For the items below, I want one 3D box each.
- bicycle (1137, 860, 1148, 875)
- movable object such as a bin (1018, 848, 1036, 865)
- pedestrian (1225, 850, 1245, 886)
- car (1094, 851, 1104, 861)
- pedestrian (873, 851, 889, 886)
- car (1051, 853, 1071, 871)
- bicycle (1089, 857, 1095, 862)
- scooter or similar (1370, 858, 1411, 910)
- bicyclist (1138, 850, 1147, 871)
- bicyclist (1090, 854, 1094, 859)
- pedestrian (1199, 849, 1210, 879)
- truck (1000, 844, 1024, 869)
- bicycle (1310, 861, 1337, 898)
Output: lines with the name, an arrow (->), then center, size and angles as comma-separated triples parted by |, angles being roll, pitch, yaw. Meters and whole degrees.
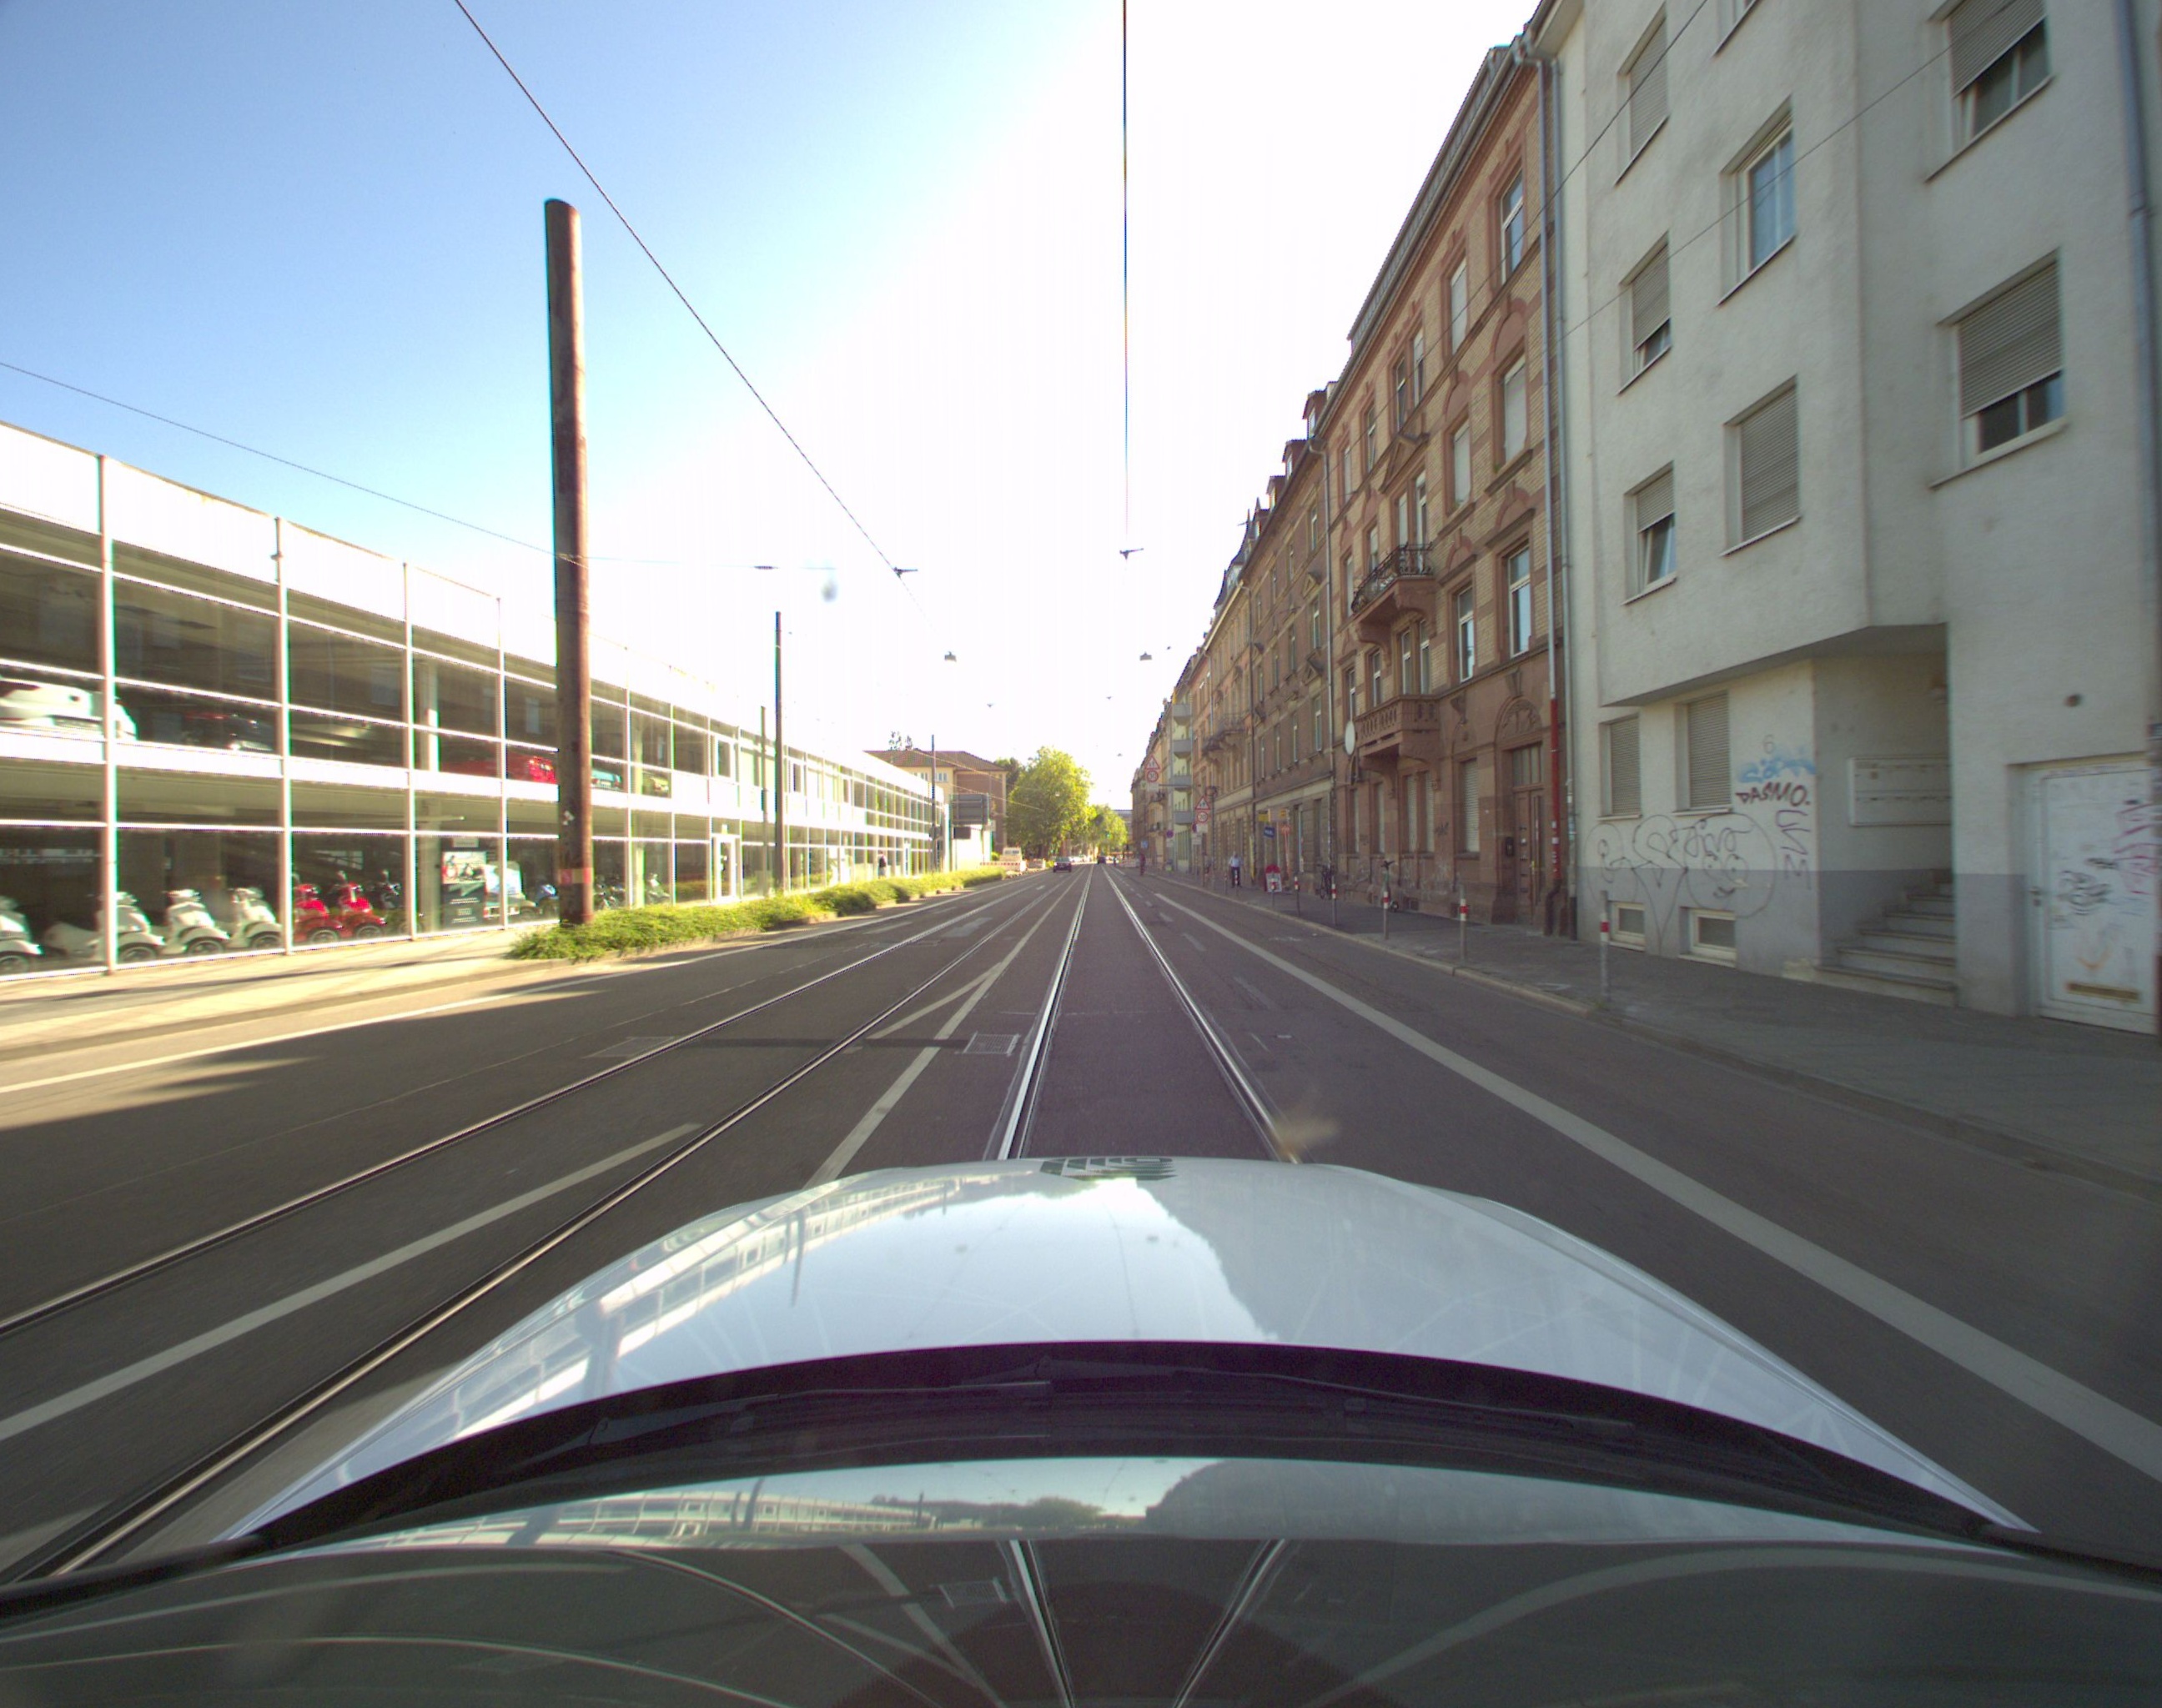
bicycle -> 4.943, 1.081, 65.490 | 0.678, 1.114, 2.707 | 1, 0, 1
movable object such as a bin -> -8.475, 0.419, 127.920 | 2.488, 2.645, 5.985 | 1, 0, -2
pedestrian -> 7.073, 0.646, 37.455 | 0.795, 1.605, 0.653 | -1, -1, 3
car -> 3.783, 0.449, 167.825 | 1.986, 2.014, 4.001 | 1, -1, 2
pedestrian -> -10.387, 0.750, 42.299 | 0.525, 1.765, 1.051 | 1, -1, 1
car -> -2.001, 0.817, 83.302 | 1.752, 1.697, 4.146 | 1, -1, 2
bicycle -> 3.387, 1.614, 251.536 | 1.227, 1.572, 2.903 | 1, -1, 8
scooter or similar -> 7.512, 0.709, 19.823 | 0.405, 1.211, 1.481 | -2, -1, 2
bicyclist -> 4.956, 0.500, 65.476 | 0.665, 1.697, 1.043 | 1, -1, 1
bicyclist -> 3.500, 0.813, 251.450 | 1.071, 1.428, 1.149 | 1, -1, 9
pedestrian -> 7.129, 0.593, 47.039 | 0.550, 1.701, 0.474 | -3, -1, 5
truck -> -8.142, 0.329, 96.925 | 2.532, 2.830, 6.369 | 1, -1, -3
bicycle -> 7.697, 0.802, 25.927 | 0.408, 1.121, 1.900 | -3, -1, 5
